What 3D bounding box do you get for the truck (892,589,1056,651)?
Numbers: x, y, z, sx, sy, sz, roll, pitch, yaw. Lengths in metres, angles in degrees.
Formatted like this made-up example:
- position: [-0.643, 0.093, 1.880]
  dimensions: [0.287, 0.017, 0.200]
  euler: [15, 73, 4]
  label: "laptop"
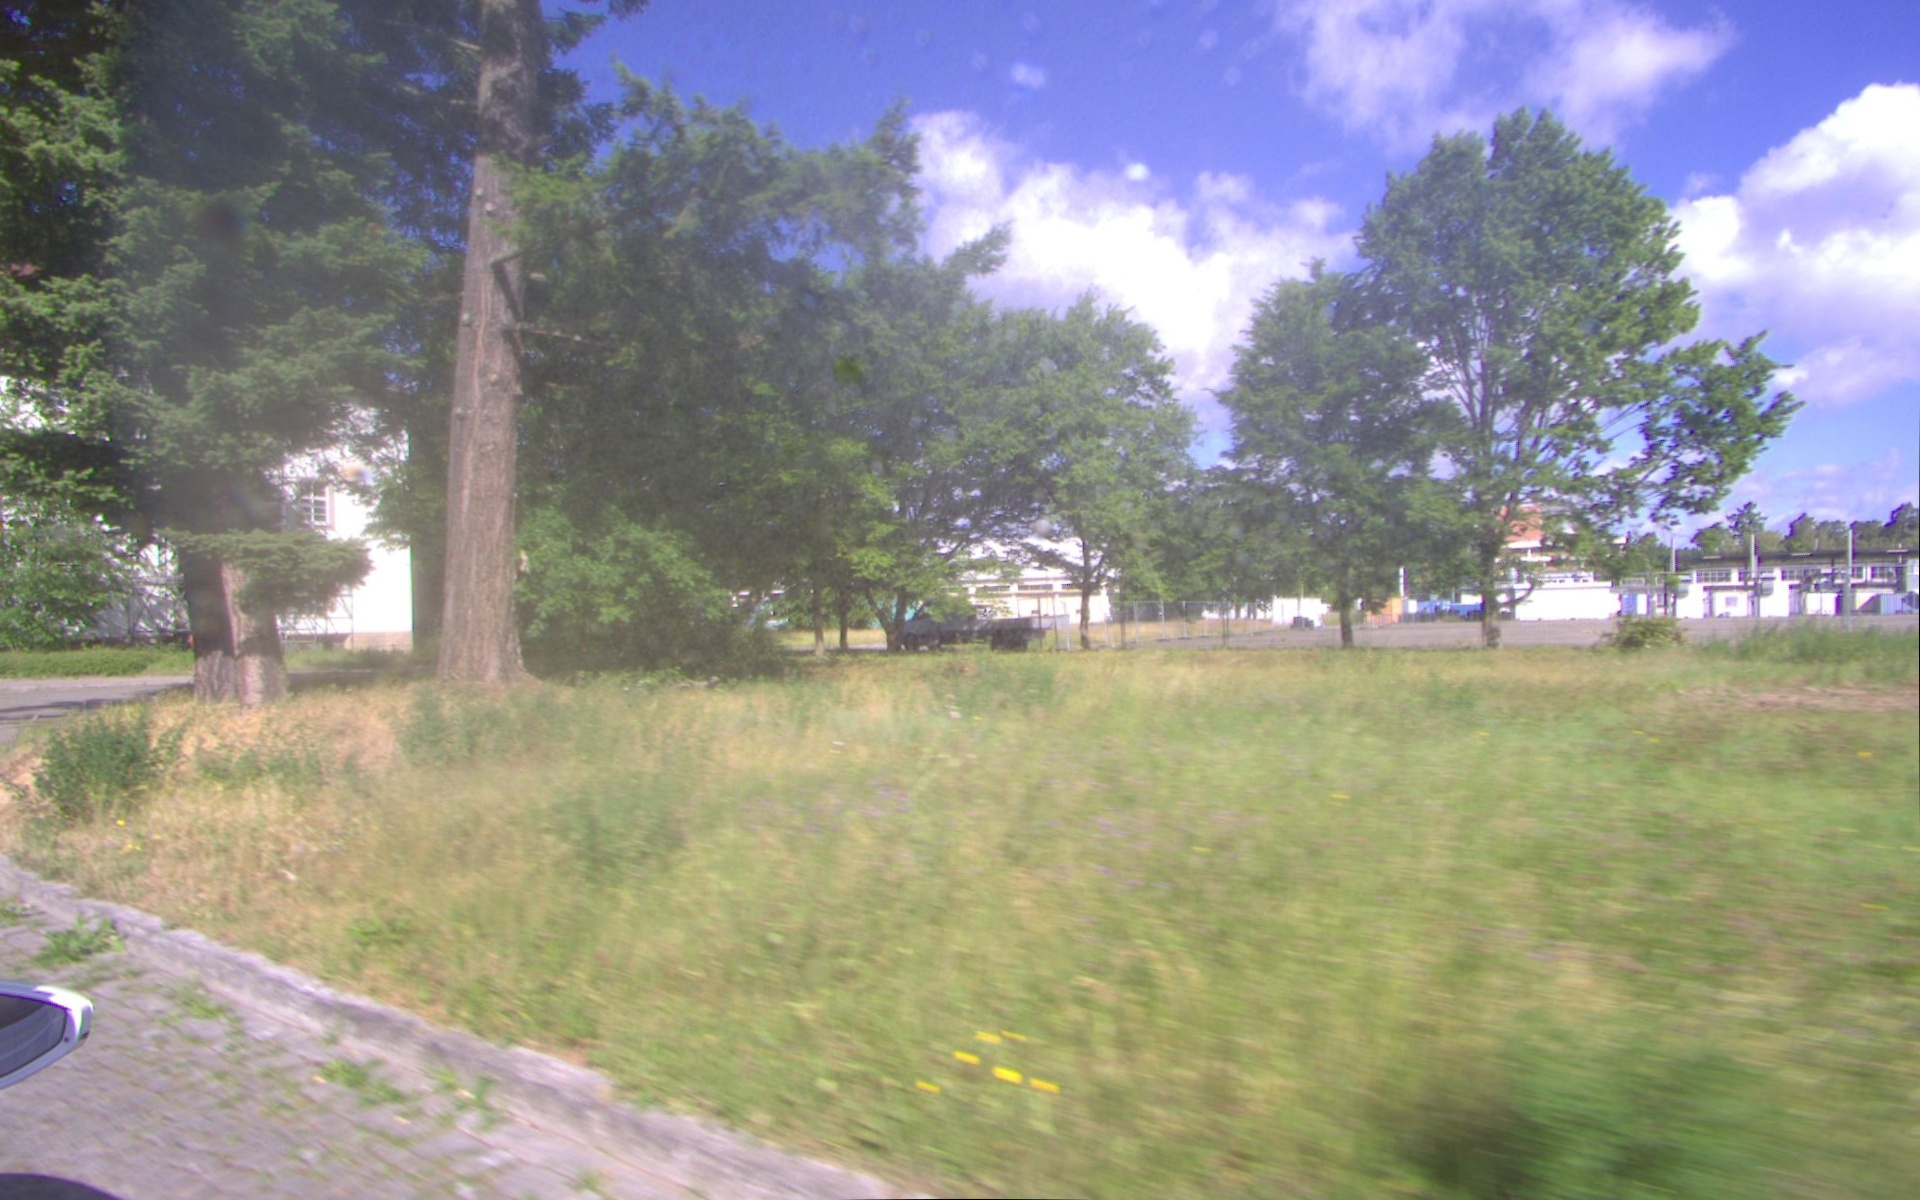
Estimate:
- position: [0.518, 0.898, 42.225]
  dimensions: [6.789, 2.454, 2.229]
  euler: [-2, -2, 33]
  label: "truck"
